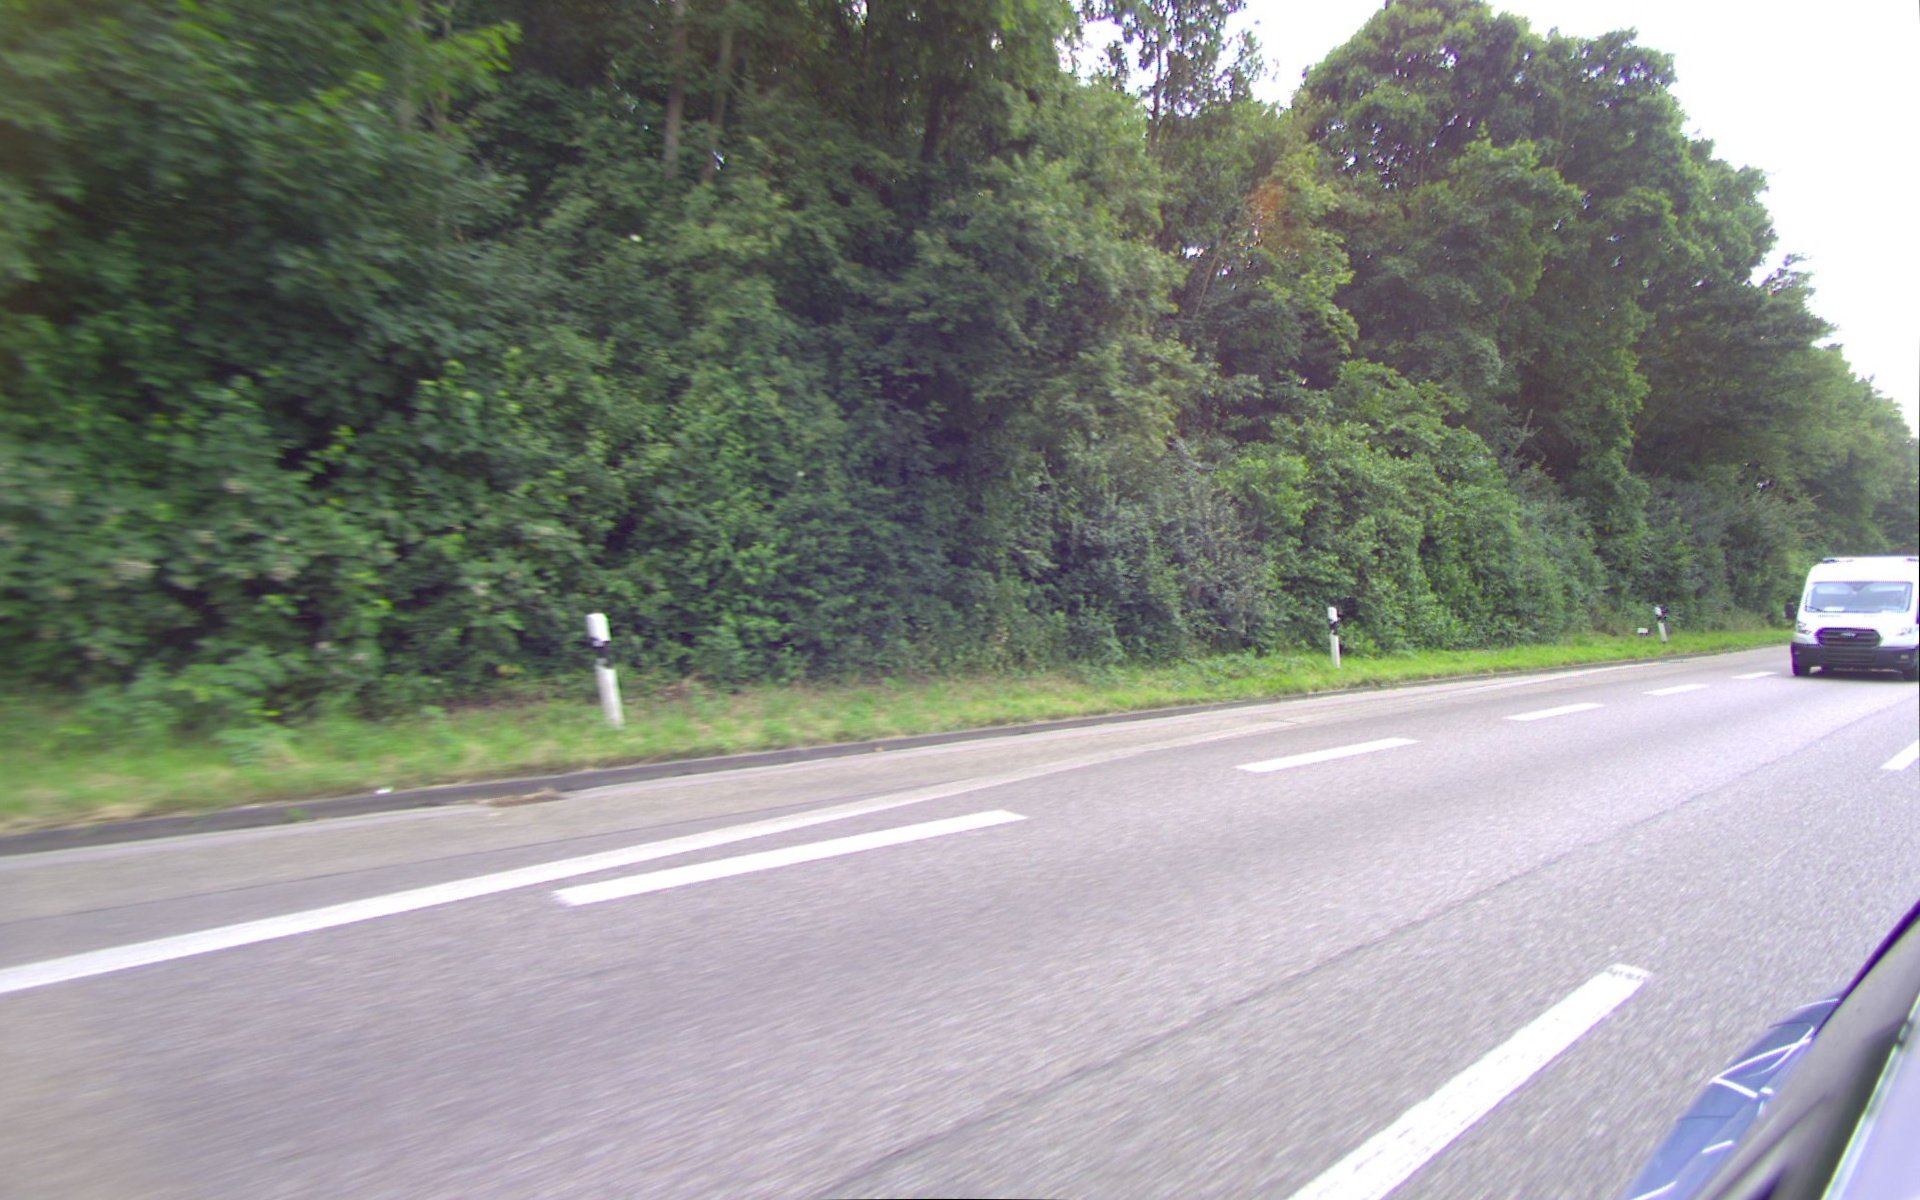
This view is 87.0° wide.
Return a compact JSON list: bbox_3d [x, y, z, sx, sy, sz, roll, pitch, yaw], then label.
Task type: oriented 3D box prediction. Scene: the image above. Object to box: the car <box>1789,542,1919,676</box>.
[{"bbox_3d":[19.629,0.168,21.621,5.186,2.539,2.102,0,0,-41],"label":"car"}]
